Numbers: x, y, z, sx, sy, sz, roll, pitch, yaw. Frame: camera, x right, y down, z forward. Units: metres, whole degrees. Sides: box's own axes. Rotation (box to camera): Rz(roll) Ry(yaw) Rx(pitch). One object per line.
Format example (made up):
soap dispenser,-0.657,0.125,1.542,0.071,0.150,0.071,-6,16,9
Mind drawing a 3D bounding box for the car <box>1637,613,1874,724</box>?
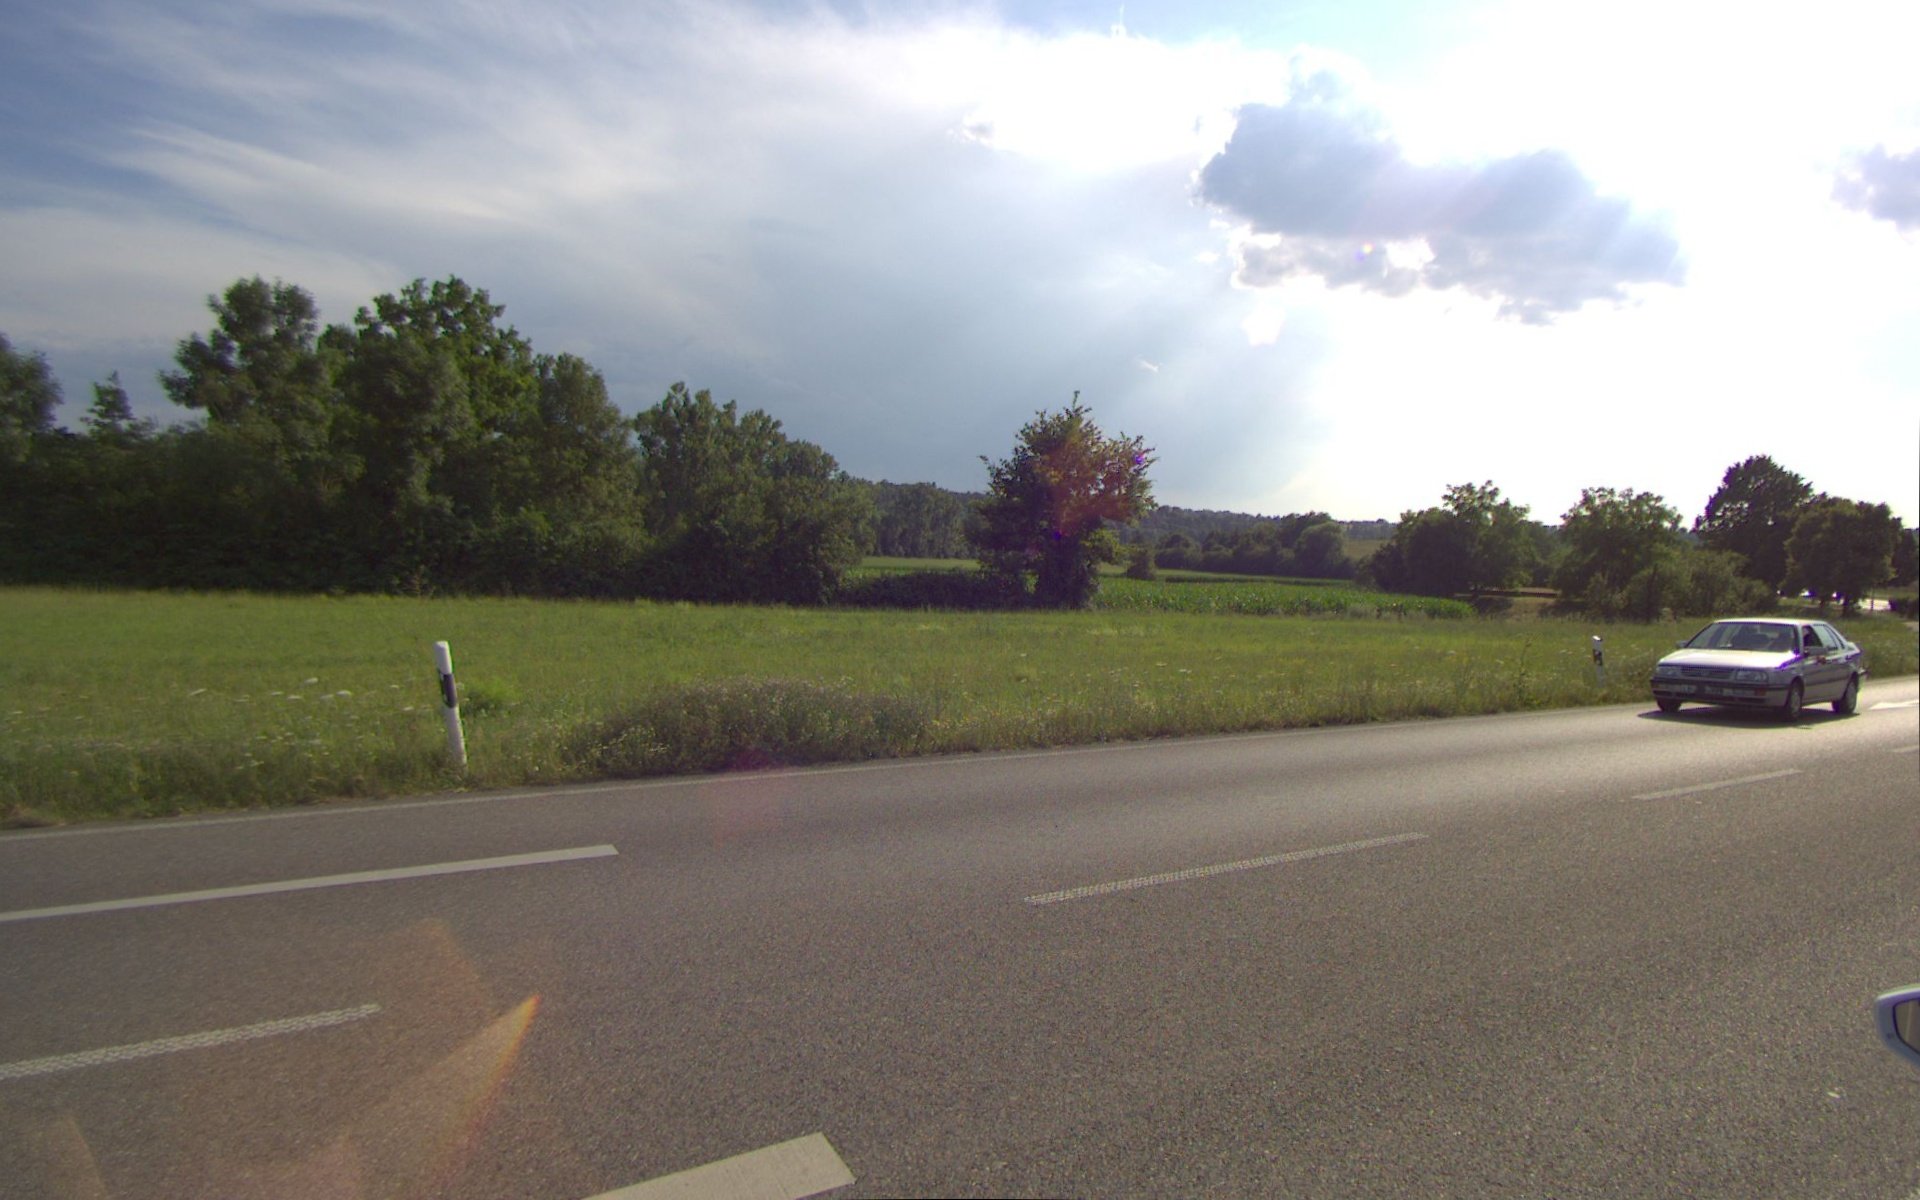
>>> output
car,12.254,0.967,15.409,4.135,1.447,1.696,1,0,-35
